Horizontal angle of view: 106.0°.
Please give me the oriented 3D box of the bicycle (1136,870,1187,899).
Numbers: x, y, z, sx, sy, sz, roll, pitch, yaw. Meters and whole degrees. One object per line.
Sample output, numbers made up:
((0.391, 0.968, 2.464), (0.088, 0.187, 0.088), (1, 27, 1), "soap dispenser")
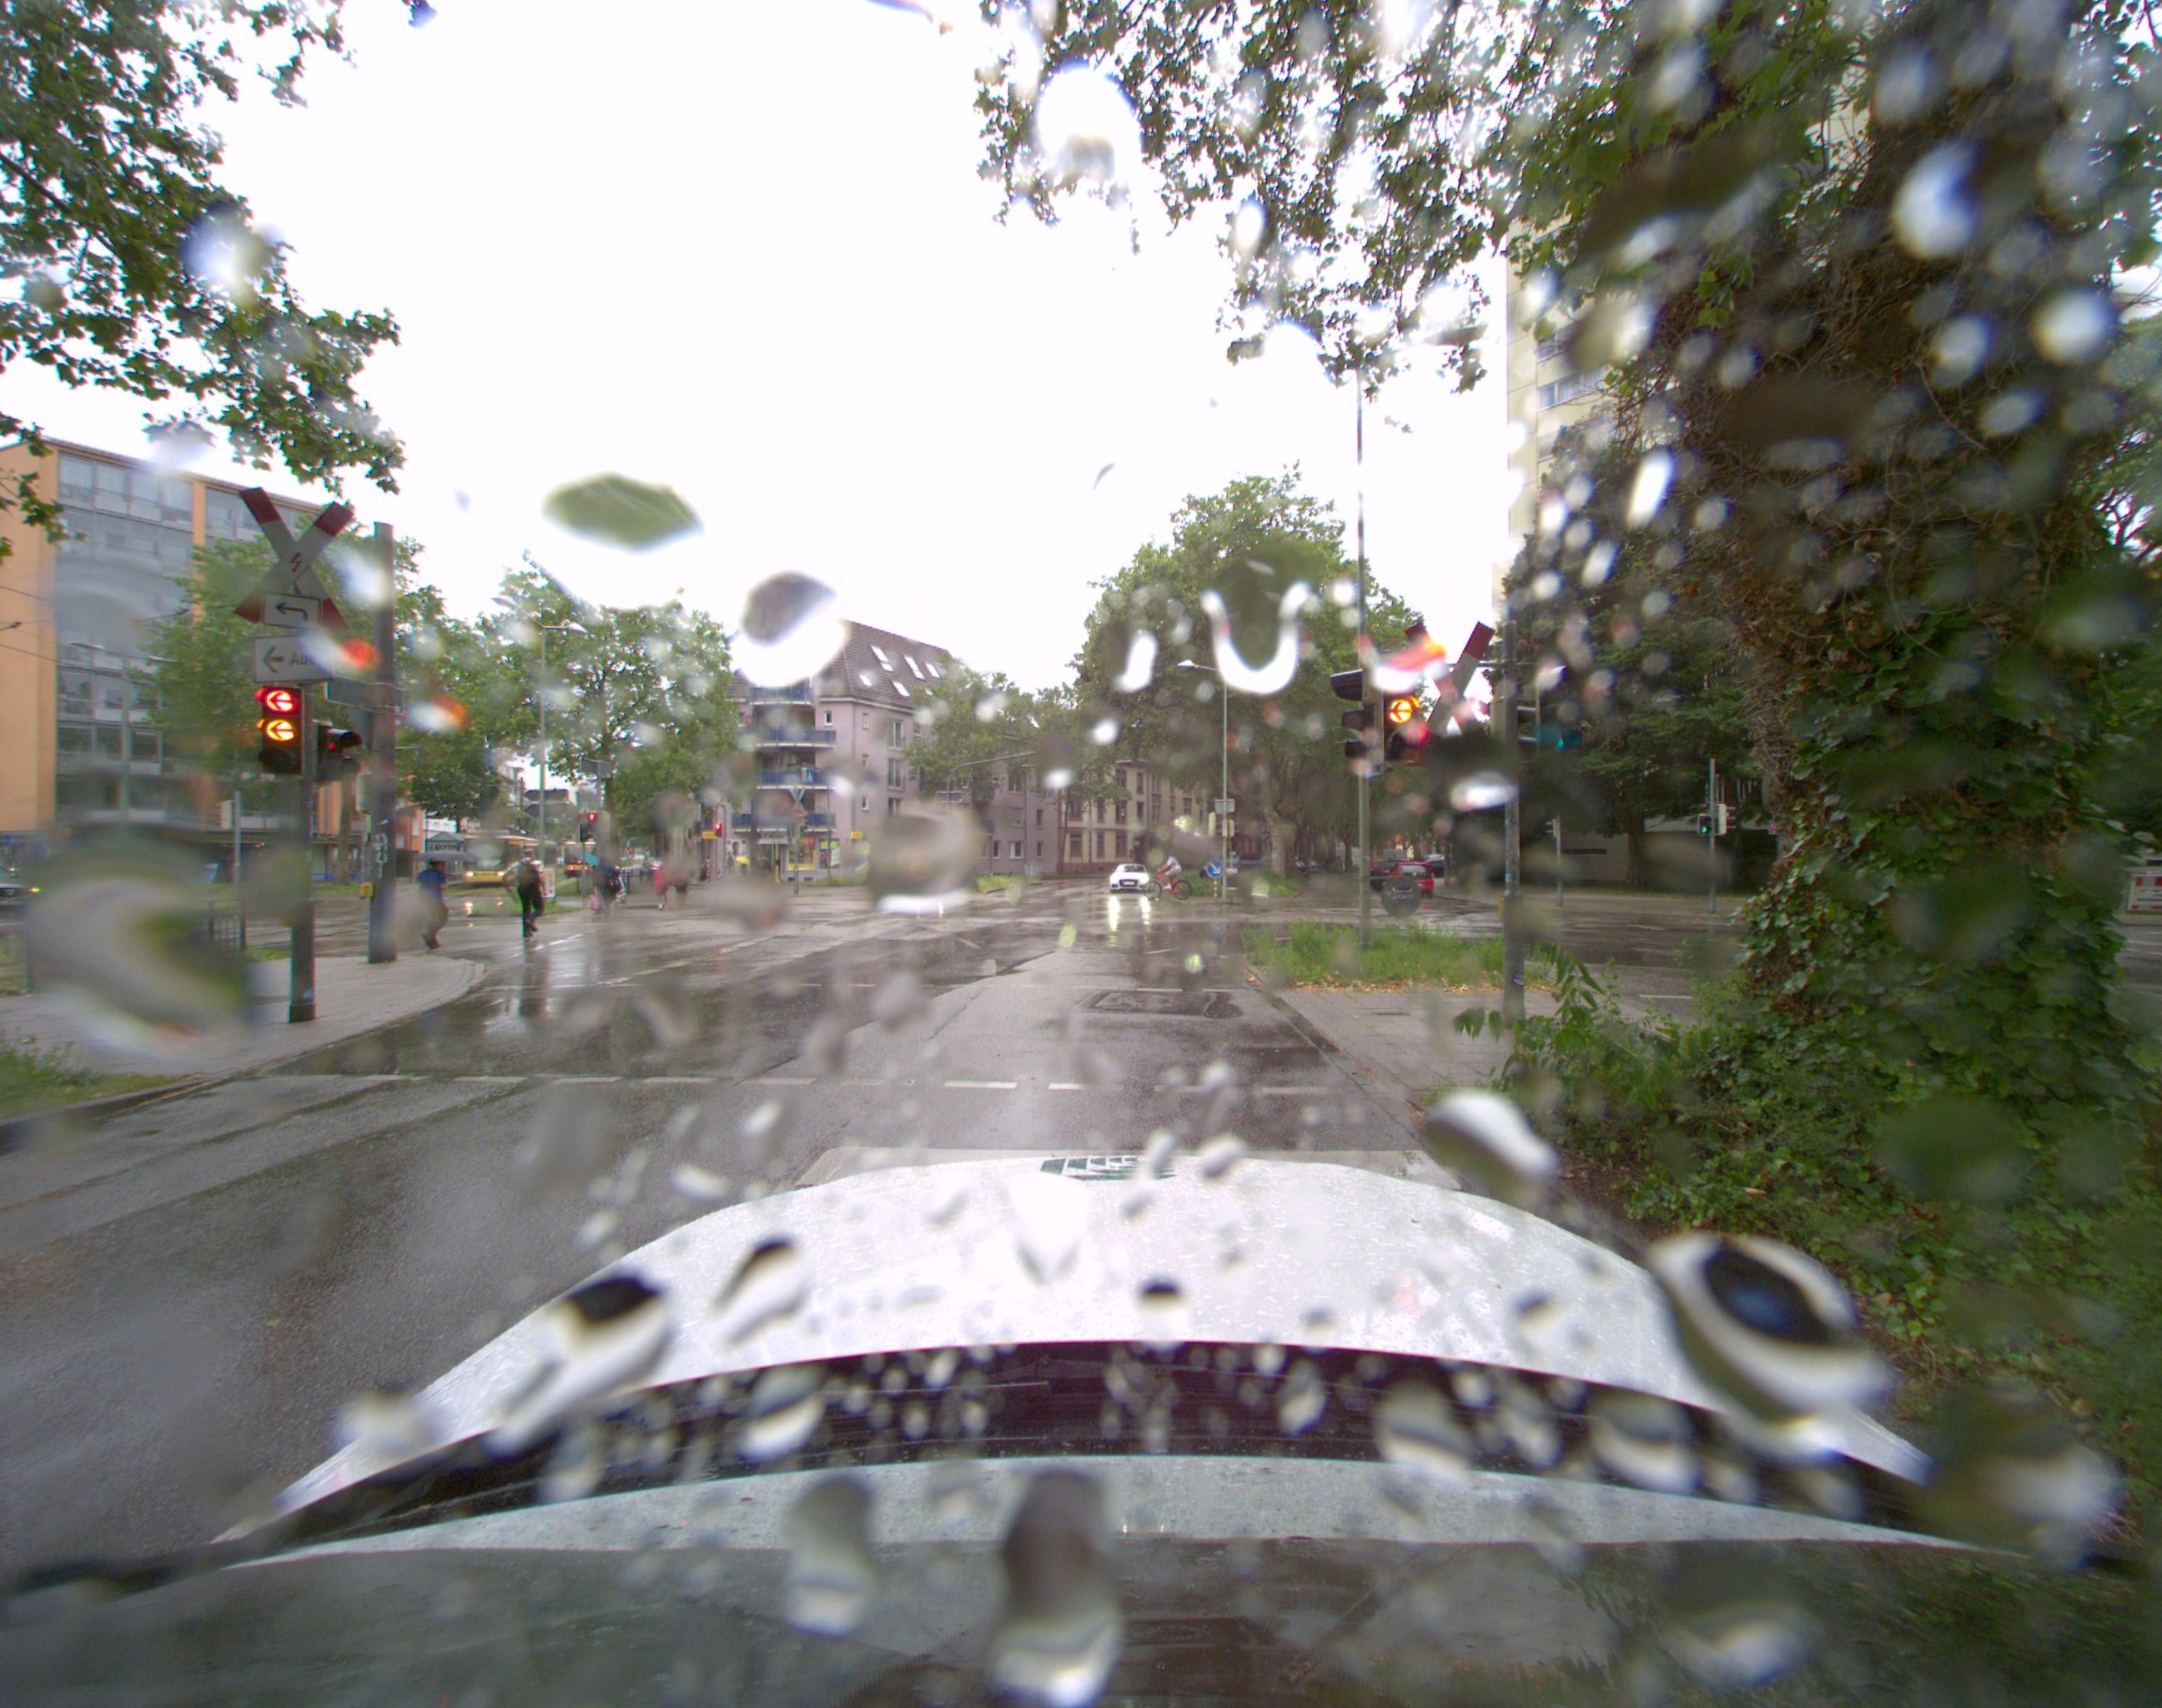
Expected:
((3.088, 1.182, 31.207), (1.862, 1.081, 0.658), (-1, -1, 9), "bicycle")

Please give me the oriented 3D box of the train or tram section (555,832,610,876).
((-44.935, 0.024, 73.876), (2.875, 3.545, 15.240), (0, 0, -26), "train or tram section")

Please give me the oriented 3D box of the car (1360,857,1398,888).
((17.325, 1.068, 47.426), (1.769, 1.727, 4.017), (-1, -1, 16), "car")

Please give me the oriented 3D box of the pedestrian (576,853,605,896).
((-20.736, 0.851, 34.452), (0.962, 1.766, 0.944), (0, -1, -28), "pedestrian")

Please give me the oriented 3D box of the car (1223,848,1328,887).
((7.775, 0.543, 32.631), (3.958, 1.486, 2.008), (-1, -1, 14), "car")

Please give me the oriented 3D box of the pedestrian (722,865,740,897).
((-16.004, 1.228, 37.225), (0.653, 1.396, 0.774), (0, 0, -33), "pedestrian")

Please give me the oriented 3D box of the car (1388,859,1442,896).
((14.825, 0.985, 36.334), (1.778, 1.498, 4.017), (0, 0, 16), "car")

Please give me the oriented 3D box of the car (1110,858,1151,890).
((2.389, 0.939, 39.172), (1.876, 1.436, 4.004), (0, 0, 4), "car")

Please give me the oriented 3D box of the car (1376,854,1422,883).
((15.894, 0.701, 40.870), (1.770, 1.348, 3.945), (0, 1, 16), "car")

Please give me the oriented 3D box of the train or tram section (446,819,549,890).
((-36.263, 0.123, 51.356), (2.897, 3.768, 17.089), (0, -1, -28), "train or tram section")

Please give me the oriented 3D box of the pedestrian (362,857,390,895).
((-33.776, 1.030, 39.009), (0.965, 1.766, 0.941), (0, -1, -39), "pedestrian")

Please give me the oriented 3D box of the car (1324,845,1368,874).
((28.325, 0.595, 87.216), (2.040, 2.948, 4.742), (0, -1, -18), "car")

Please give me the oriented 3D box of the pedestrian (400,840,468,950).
((-11.449, 0.695, 14.401), (0.876, 1.864, 0.881), (0, 0, -43), "pedestrian")

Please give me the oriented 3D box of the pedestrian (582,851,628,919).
((-12.536, 0.798, 21.431), (0.844, 1.698, 0.680), (-4, 3, -42), "pedestrian")

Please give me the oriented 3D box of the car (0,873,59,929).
((-32.224, 1.336, 23.587), (3.994, 1.530, 1.615), (0, 1, 12), "car")

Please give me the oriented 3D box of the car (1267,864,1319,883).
((16.976, 1.558, 65.350), (3.958, 1.486, 2.008), (-1, -1, 14), "car")

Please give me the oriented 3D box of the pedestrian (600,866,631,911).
((-14.393, 1.067, 25.191), (0.657, 1.349, 0.706), (0, 0, -12), "pedestrian")

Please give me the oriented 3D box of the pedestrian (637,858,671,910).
((-12.594, 0.876, 24.040), (0.681, 1.520, 0.658), (-1, 0, -6), "pedestrian")

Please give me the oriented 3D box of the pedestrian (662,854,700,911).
((-11.885, 0.826, 24.208), (0.728, 1.624, 0.816), (-1, 1, -5), "pedestrian")

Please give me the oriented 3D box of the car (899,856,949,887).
((-8.007, 0.856, 41.843), (1.745, 1.512, 3.839), (0, 0, 1), "car")

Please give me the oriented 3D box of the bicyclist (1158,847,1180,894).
((3.368, 0.617, 31.164), (0.790, 1.786, 0.699), (-1, -1, 9), "bicyclist")

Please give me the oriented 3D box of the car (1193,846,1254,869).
((9.404, 0.257, 53.662), (3.838, 1.486, 1.723), (-1, -1, 14), "car")

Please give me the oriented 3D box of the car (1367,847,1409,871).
((38.993, 0.650, 103.566), (2.006, 2.948, 4.726), (0, -1, -29), "car")

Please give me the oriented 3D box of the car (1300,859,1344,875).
((23.139, 1.260, 78.260), (3.958, 1.547, 2.008), (-1, -1, 14), "car")

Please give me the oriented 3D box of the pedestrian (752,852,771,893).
((-14.998, 0.856, 38.229), (0.791, 1.855, 0.676), (0, 0, -22), "pedestrian")

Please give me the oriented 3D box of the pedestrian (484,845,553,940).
((-10.719, 0.712, 15.557), (0.867, 1.755, 0.826), (0, 0, -18), "pedestrian")
